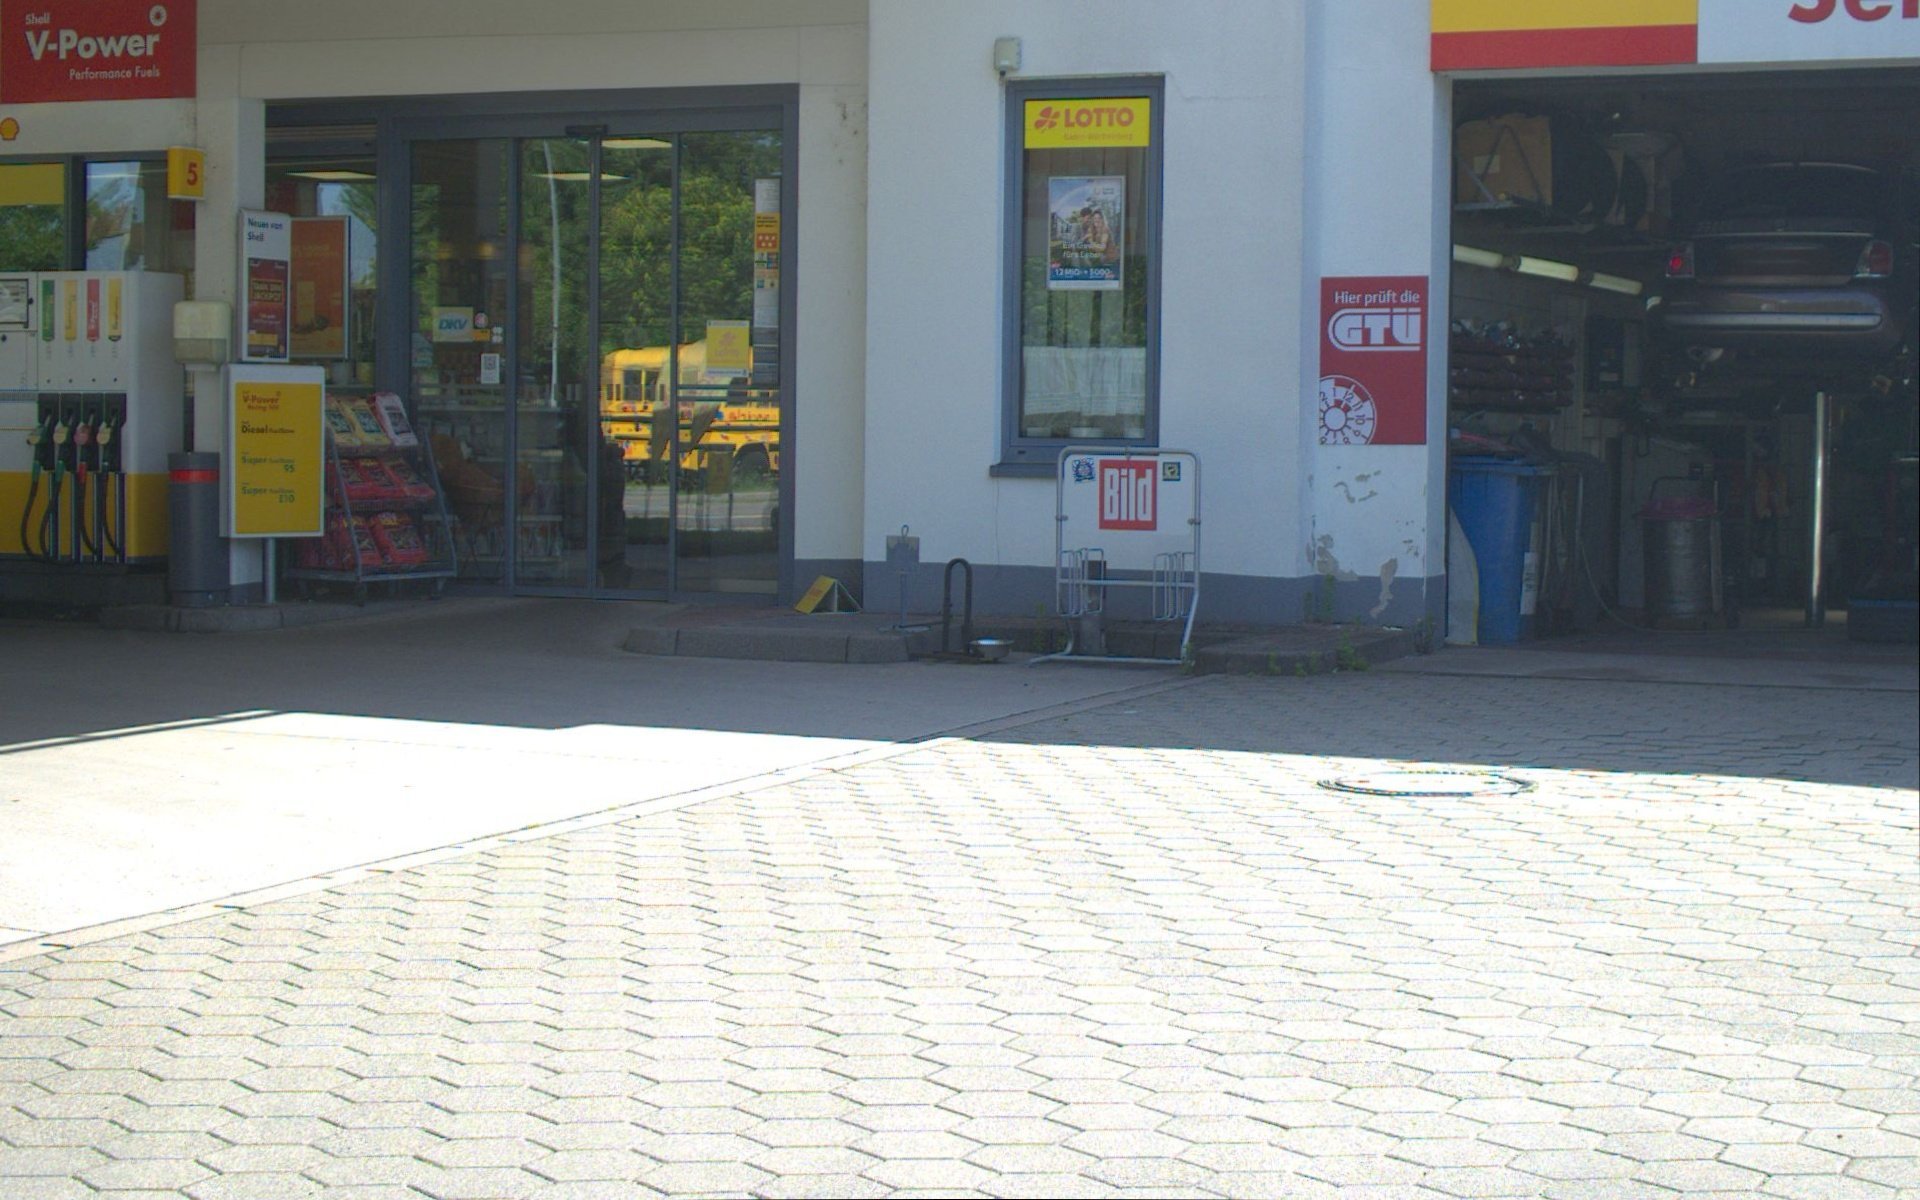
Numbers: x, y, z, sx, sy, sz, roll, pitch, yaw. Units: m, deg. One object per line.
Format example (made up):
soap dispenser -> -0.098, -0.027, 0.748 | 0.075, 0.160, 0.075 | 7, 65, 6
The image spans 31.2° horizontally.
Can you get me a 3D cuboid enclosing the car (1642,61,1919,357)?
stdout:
car -> 5.645, -2.377, 21.699 | 1.649, 1.481, 3.995 | 1, 1, 26
